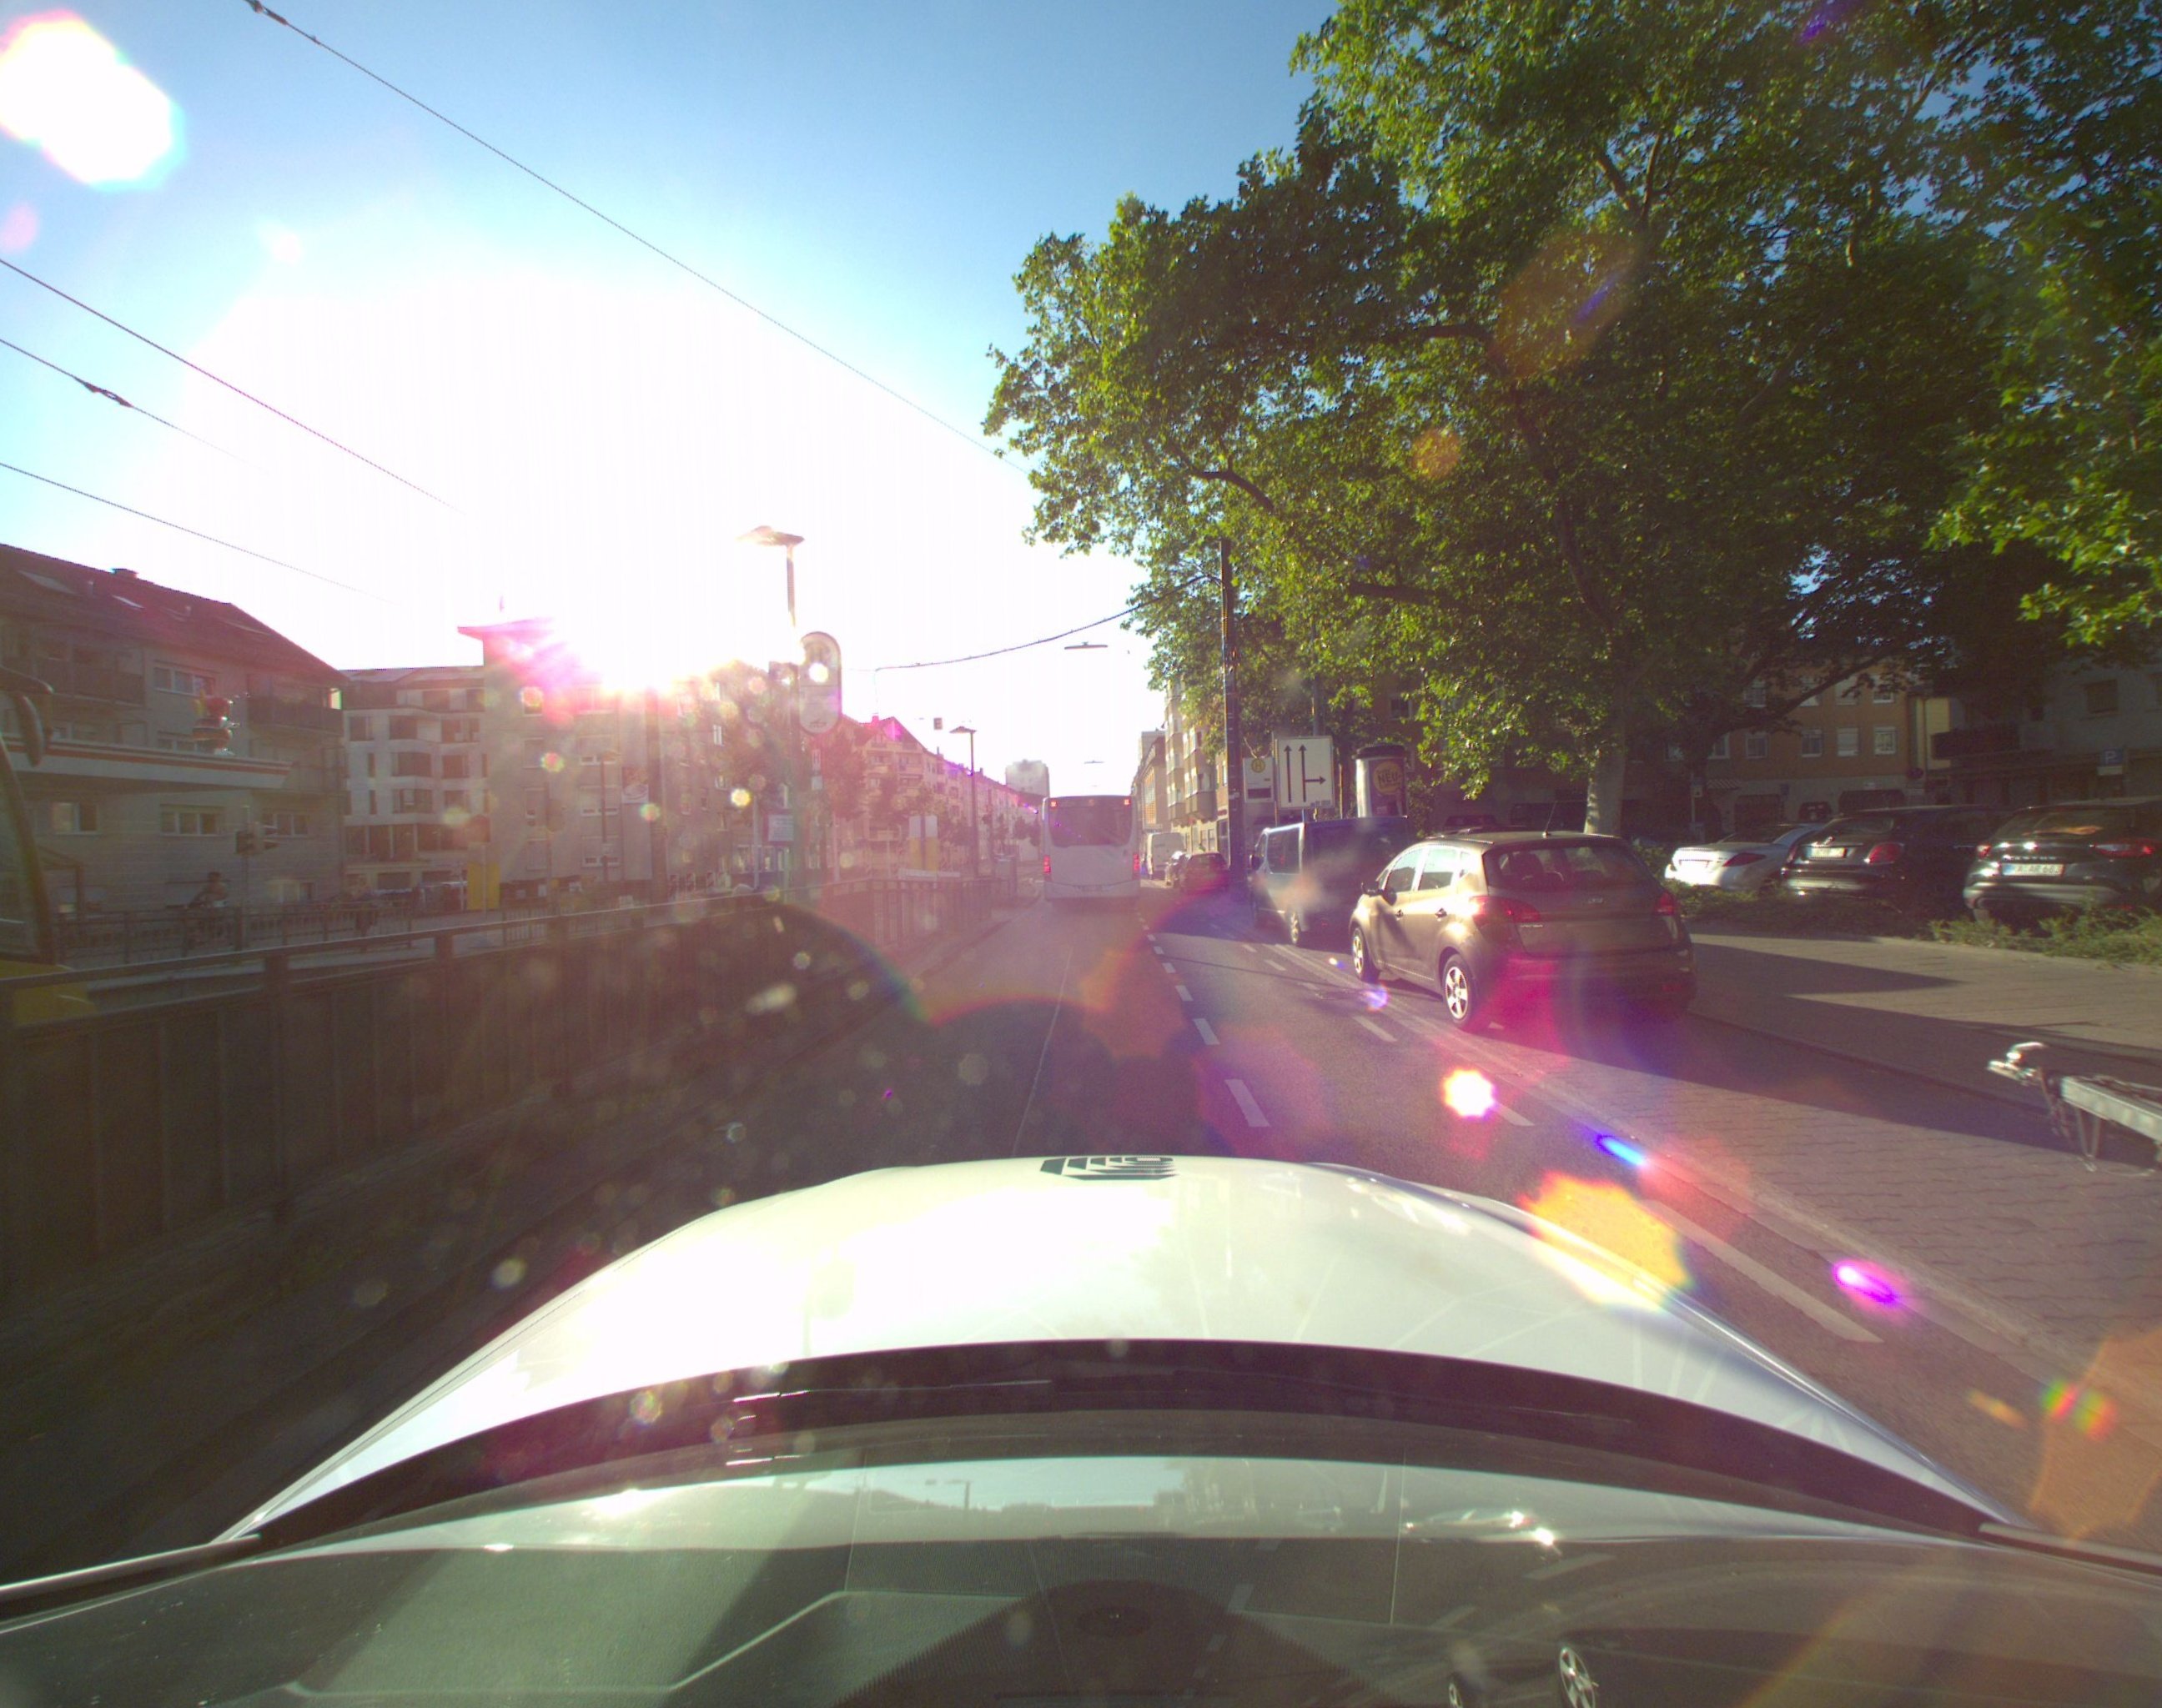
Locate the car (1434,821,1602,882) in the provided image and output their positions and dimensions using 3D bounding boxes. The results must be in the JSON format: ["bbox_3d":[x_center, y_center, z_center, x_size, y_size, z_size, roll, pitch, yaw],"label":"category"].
[{"bbox_3d":[12.409,-0.080,23.313,3.825,1.631,1.857,-1,0,2],"label":"car"}]

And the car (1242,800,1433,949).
[{"bbox_3d":[4.141,0.290,14.002,1.878,2.078,4.564,-2,0,2],"label":"car"}]

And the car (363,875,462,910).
[{"bbox_3d":[-34.648,1.992,42.249,3.795,1.512,1.822,-3,0,8],"label":"car"}]

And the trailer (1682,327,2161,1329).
[{"bbox_3d":[3.710,-0.080,1.439,1.878,2.588,4.652,-2,0,2],"label":"trailer"}]

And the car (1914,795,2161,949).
[{"bbox_3d":[12.249,0.169,9.049,4.095,1.550,1.804,0,0,2],"label":"car"}]

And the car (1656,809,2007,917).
[{"bbox_3d":[12.317,0.146,13.594,4.096,1.495,1.804,-3,0,2],"label":"car"}]

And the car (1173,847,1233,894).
[{"bbox_3d":[4.407,0.566,29.866,1.564,1.494,3.626,-4,0,0],"label":"car"}]

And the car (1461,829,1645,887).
[{"bbox_3d":[12.281,0.080,21.381,3.825,1.436,1.804,0,2,2],"label":"car"}]

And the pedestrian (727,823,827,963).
[{"bbox_3d":[-3.538,0.435,9.557,0.915,1.550,0.787,-1,0,-7],"label":"pedestrian"}]

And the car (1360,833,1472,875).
[{"bbox_3d":[12.530,-0.006,30.600,3.486,1.482,1.773,0,0,0],"label":"car"}]

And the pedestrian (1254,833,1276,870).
[{"bbox_3d":[9.093,-0.131,40.247,0.803,1.751,0.769,-6,1,1],"label":"pedestrian"}]

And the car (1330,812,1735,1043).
[{"bbox_3d":[3.930,0.536,7.984,1.789,1.630,4.001,-2,0,2],"label":"car"}]

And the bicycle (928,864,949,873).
[{"bbox_3d":[-14.521,1.470,82.944,2.063,0.732,0.760,-2,0,-10],"label":"bicycle"}]

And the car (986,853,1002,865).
[{"bbox_3d":[-16.031,0.874,150.620,1.984,2.013,4.007,-2,0,6],"label":"car"}]

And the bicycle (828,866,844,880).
[{"bbox_3d":[-21.047,1.660,69.996,0.744,1.115,1.779,-3,0,2],"label":"bicycle"}]

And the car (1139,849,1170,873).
[{"bbox_3d":[5.132,0.479,57.430,1.831,1.536,4.231,-3,0,2],"label":"car"}]

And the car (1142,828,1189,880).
[{"bbox_3d":[4.721,-0.015,46.326,2.010,2.551,5.786,-6,0,2],"label":"car"}]

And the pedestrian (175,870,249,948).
[{"bbox_3d":[-21.832,1.354,20.474,0.750,1.882,1.000,0,0,0],"label":"pedestrian"}]

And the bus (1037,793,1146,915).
[{"bbox_3d":[0.398,-0.018,25.123,2.728,3.056,8.857,-1,0,2],"label":"bus"}]

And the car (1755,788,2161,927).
[{"bbox_3d":[12.114,0.030,11.199,4.096,1.599,1.804,-3,0,2],"label":"car"}]

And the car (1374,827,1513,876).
[{"bbox_3d":[12.456,-0.089,28.177,4.008,1.600,1.856,0,0,0],"label":"car"}]

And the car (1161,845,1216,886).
[{"bbox_3d":[4.624,0.482,35.736,1.691,1.530,4.651,-5,0,0],"label":"car"}]

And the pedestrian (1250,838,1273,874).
[{"bbox_3d":[8.587,0.097,38.774,0.658,1.636,0.988,-6,1,-6],"label":"pedestrian"}]

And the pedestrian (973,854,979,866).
[{"bbox_3d":[-17.769,1.076,137.978,0.886,2.013,0.788,-2,0,-5],"label":"pedestrian"}]

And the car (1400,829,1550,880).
[{"bbox_3d":[12.280,0.007,25.555,3.825,1.495,1.857,0,0,2],"label":"car"}]

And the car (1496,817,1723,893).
[{"bbox_3d":[12.219,0.027,19.033,4.096,1.495,1.804,-3,0,2],"label":"car"}]

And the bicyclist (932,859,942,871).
[{"bbox_3d":[-14.658,1.127,82.927,0.932,1.161,0.641,-3,0,-10],"label":"bicyclist"}]

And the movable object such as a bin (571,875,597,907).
[{"bbox_3d":[-22.786,1.711,37.335,0.661,1.400,0.749,-3,0,0],"label":"movable object such as a bin"}]

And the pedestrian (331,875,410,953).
[{"bbox_3d":[-15.690,1.297,18.009,0.917,1.654,0.941,0,0,12],"label":"pedestrian"}]
